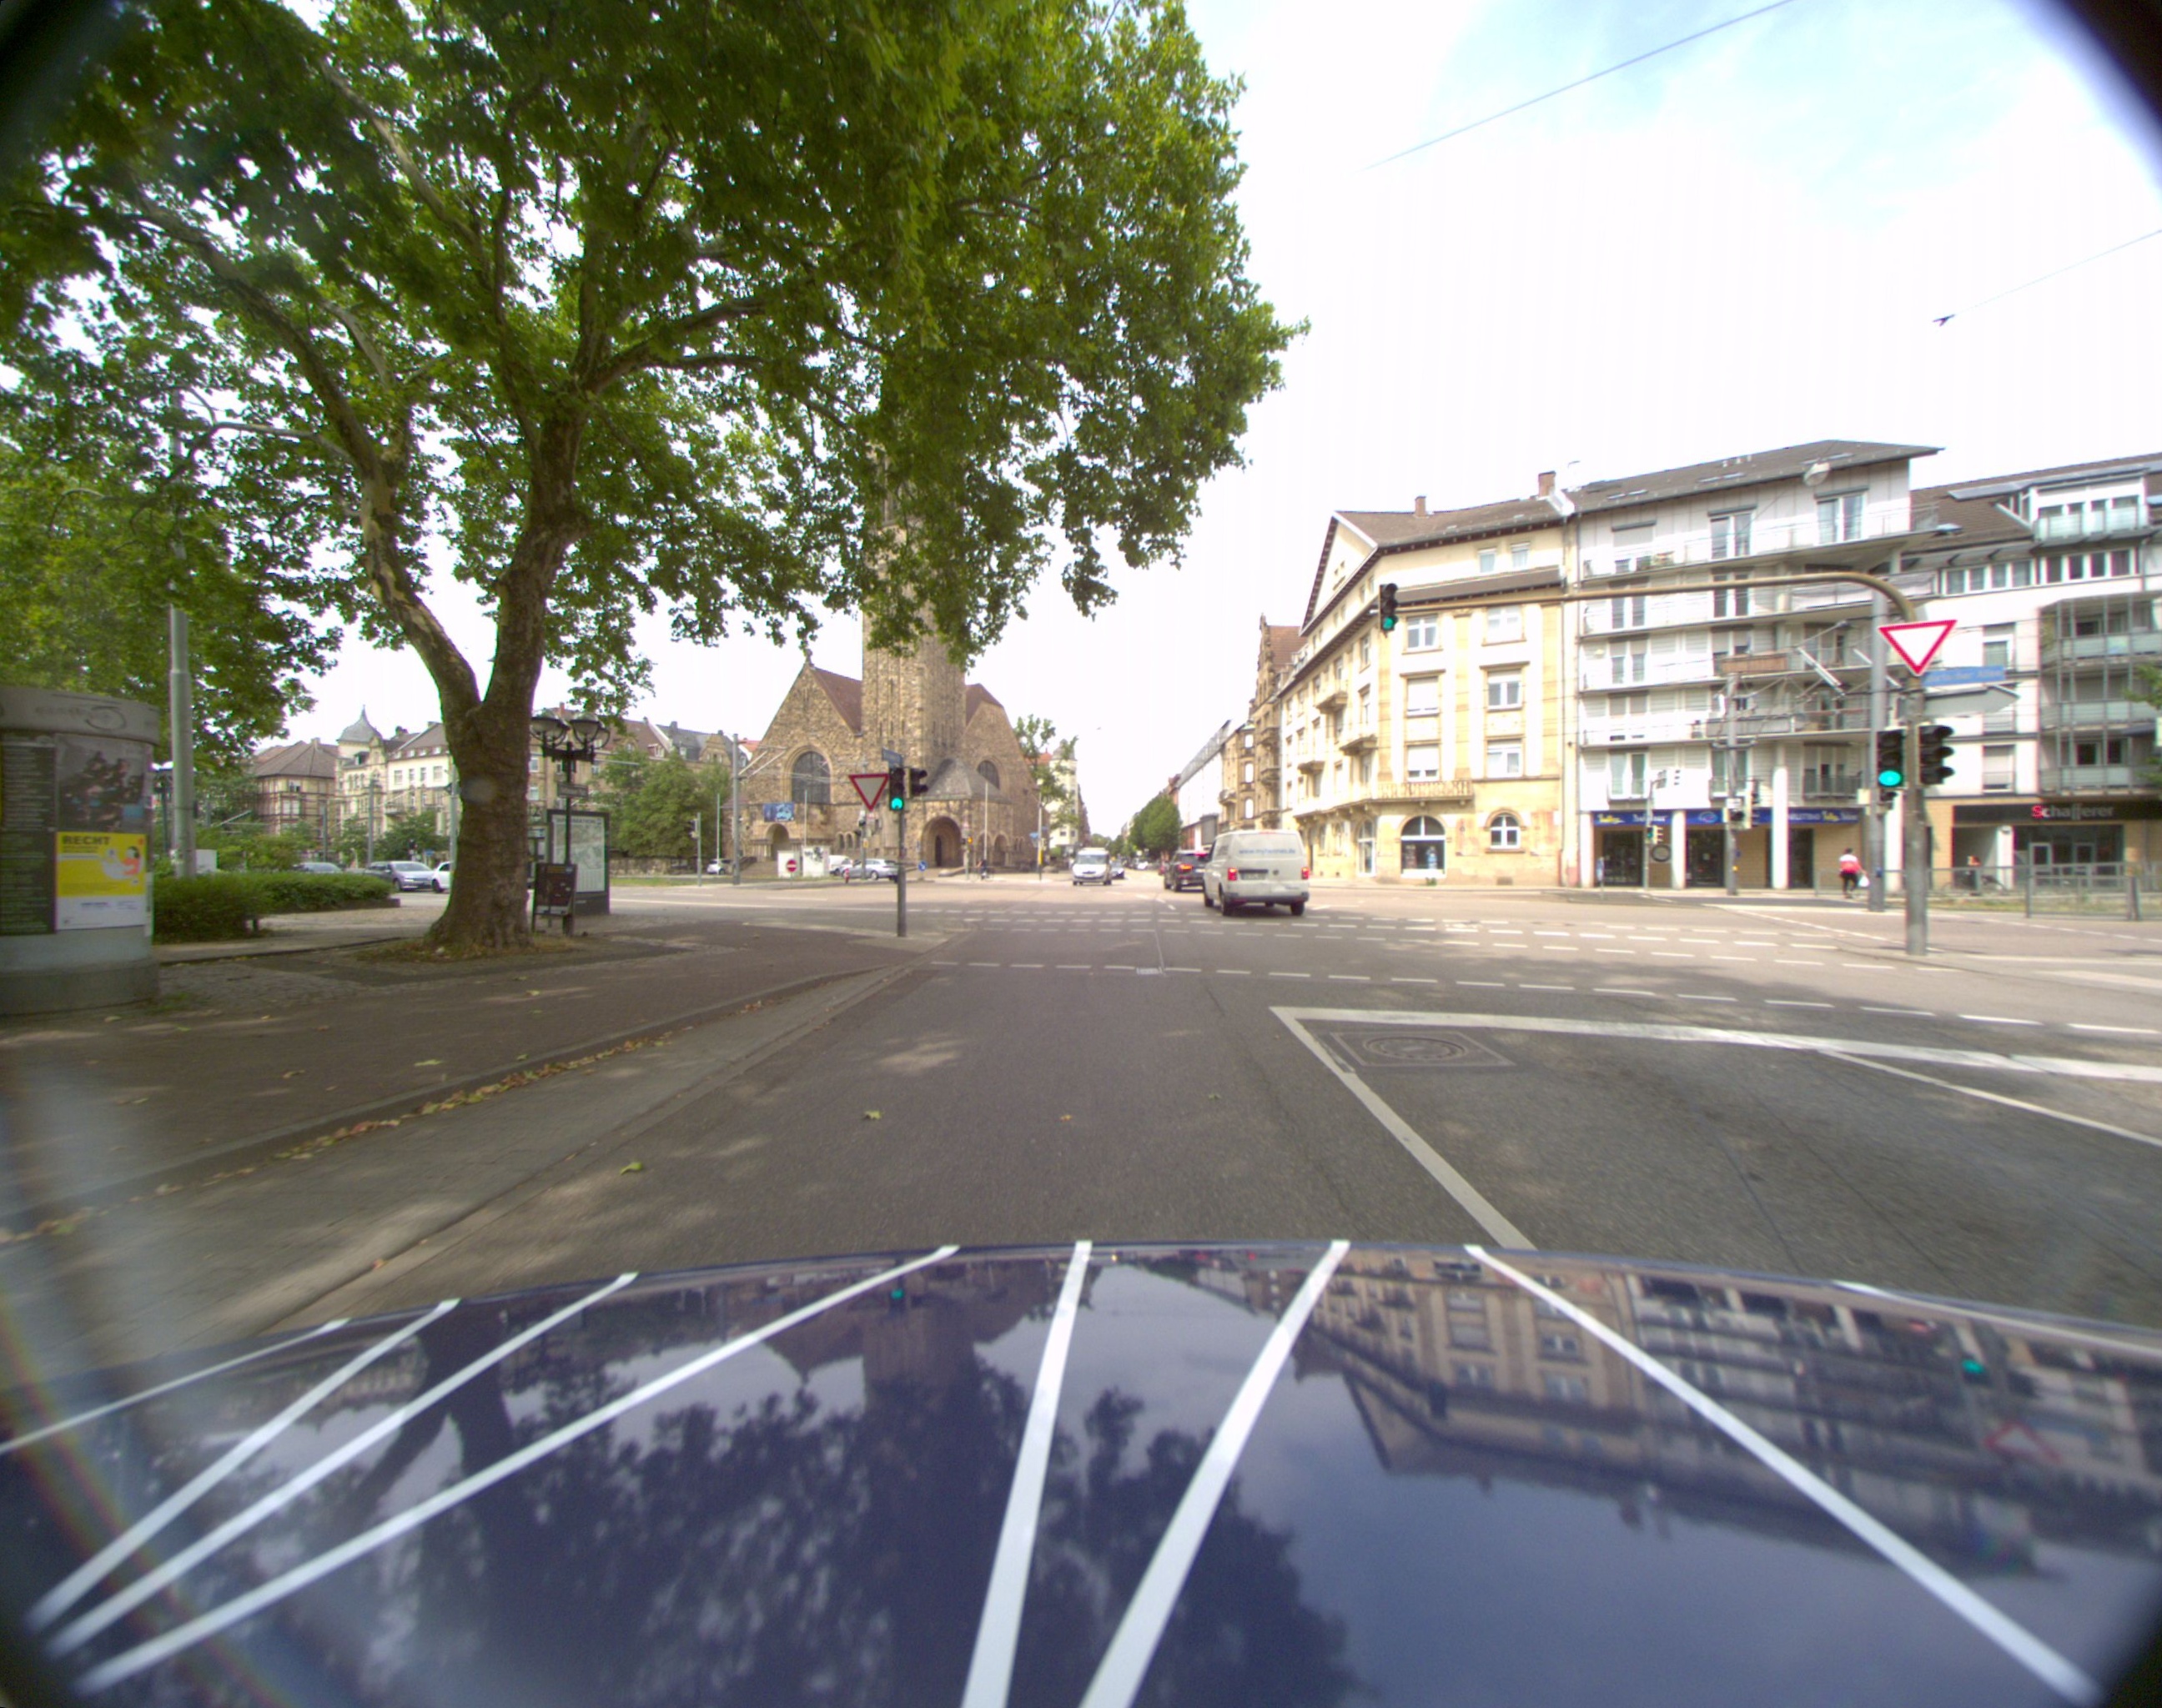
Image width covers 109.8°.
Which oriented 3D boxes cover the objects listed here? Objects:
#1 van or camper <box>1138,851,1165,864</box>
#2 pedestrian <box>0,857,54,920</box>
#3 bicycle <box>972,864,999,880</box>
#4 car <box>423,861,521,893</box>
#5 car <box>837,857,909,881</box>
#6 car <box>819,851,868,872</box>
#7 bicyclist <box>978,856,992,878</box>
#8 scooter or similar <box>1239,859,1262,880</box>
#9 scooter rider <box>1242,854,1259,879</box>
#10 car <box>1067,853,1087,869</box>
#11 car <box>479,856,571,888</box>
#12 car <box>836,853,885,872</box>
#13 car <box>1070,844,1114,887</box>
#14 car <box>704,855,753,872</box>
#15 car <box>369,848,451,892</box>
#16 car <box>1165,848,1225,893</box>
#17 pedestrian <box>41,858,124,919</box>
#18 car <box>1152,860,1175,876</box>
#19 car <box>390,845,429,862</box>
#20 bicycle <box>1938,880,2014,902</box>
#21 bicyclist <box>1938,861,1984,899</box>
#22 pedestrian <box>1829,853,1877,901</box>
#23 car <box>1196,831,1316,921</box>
[{"bbox_3d":[11.035,0.493,118.916,3.997,2.002,2.000,0,0,-1],"label":"van or camper"},{"bbox_3d":[-22.635,0.713,16.061,1.176,1.310,0.869,0,0,24],"label":"pedestrian"},{"bbox_3d":[-6.806,1.286,54.302,1.813,1.079,0.598,-2,0,-14],"label":"bicycle"},{"bbox_3d":[-27.598,0.992,34.430,4.277,1.375,1.843,0,-1,26],"label":"car"},{"bbox_3d":[-13.850,0.969,50.484,4.834,1.515,1.772,0,0,31],"label":"car"},{"bbox_3d":[-21.508,0.697,68.918,1.995,1.870,3.962,0,0,26],"label":"car"},{"bbox_3d":[-6.867,0.922,54.287,0.840,1.488,0.588,-2,0,-14],"label":"bicyclist"},{"bbox_3d":[9.312,0.828,41.768,0.741,1.131,2.689,0,-1,2],"label":"scooter or similar"},{"bbox_3d":[9.281,0.680,41.575,0.741,1.368,1.087,0,0,2],"label":"scooter rider"},{"bbox_3d":[-0.438,0.784,87.087,2.081,1.852,4.681,0,0,3],"label":"car"},{"bbox_3d":[-27.337,0.847,37.349,4.277,1.502,1.843,0,-1,25],"label":"car"},{"bbox_3d":[-19.453,0.762,67.111,1.995,1.641,4.007,0,0,26],"label":"car"},{"bbox_3d":[0.632,0.565,38.810,2.081,2.039,4.681,0,0,3],"label":"car"},{"bbox_3d":[-34.693,0.936,74.883,1.995,1.631,3.962,0,0,26],"label":"car"},{"bbox_3d":[-32.419,0.706,36.692,3.988,2.002,2.004,1,1,34],"label":"car"},{"bbox_3d":[4.465,0.623,30.385,1.826,1.637,4.428,-1,0,1],"label":"car"},{"bbox_3d":[-22.251,0.738,16.938,1.176,1.310,0.869,0,0,24],"label":"pedestrian"},{"bbox_3d":[8.277,1.389,76.749,1.767,1.515,4.000,2,0,-1],"label":"car"},{"bbox_3d":[-78.893,-0.032,89.252,3.990,2.002,2.003,0,0,24],"label":"car"},{"bbox_3d":[34.824,1.433,29.596,1.786,0.811,0.653,0,0,26],"label":"bicycle"},{"bbox_3d":[34.477,0.998,29.766,0.998,1.435,0.642,0,0,26],"label":"bicyclist"},{"bbox_3d":[25.052,0.731,24.668,0.837,1.543,0.869,0,0,25],"label":"pedestrian"},{"bbox_3d":[4.166,0.486,18.959,1.928,1.925,4.948,-1,0,1],"label":"car"}]
